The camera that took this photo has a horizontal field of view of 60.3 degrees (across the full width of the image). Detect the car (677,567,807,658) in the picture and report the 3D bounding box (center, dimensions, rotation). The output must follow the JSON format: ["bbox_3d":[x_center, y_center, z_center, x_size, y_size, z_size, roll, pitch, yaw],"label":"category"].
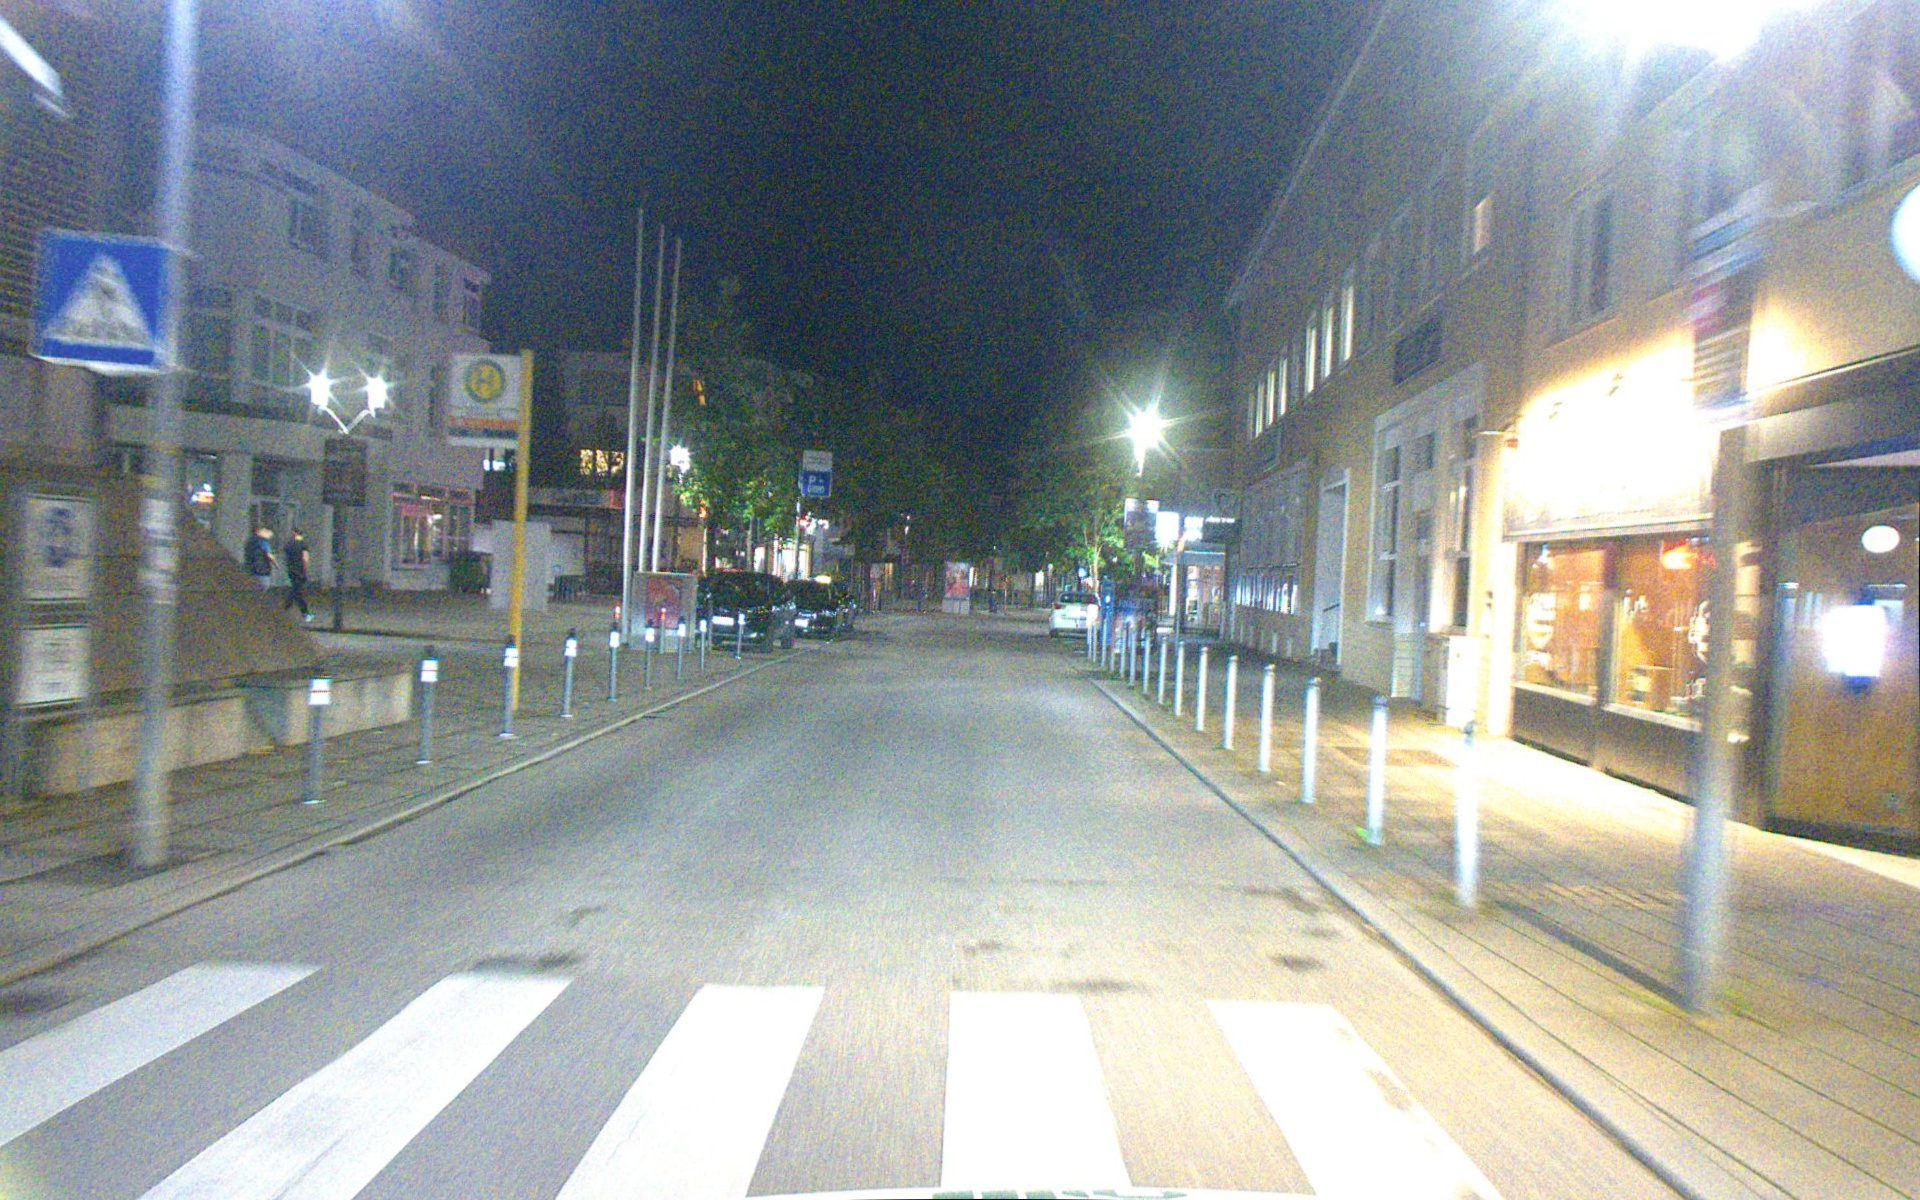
[{"bbox_3d":[-4.309,0.245,33.398,1.734,1.601,4.484,4,0,3],"label":"car"}]

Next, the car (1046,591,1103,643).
[{"bbox_3d":[3.664,0.554,53.031,1.706,1.513,4.638,2,-1,4],"label":"car"}]

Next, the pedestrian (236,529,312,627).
[{"bbox_3d":[-13.455,-0.426,32.436,0.776,1.848,1.023,4,0,22],"label":"pedestrian"}]

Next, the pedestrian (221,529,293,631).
[{"bbox_3d":[-13.363,-0.381,31.463,0.861,1.863,0.790,4,0,27],"label":"pedestrian"}]

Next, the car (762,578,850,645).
[{"bbox_3d":[-4.019,0.256,43.866,1.866,1.568,4.781,3,0,-1],"label":"car"}]

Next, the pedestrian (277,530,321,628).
[{"bbox_3d":[-12.696,-0.407,31.778,0.491,1.854,0.503,2,-1,26],"label":"pedestrian"}]

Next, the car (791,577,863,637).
[{"bbox_3d":[-4.007,0.179,50.419,1.723,1.666,4.815,2,0,0],"label":"car"}]

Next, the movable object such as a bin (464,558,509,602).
[{"bbox_3d":[-16.906,-0.708,59.079,1.107,1.483,1.228,3,-1,3],"label":"movable object such as a bin"}]

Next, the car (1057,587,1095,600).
[{"bbox_3d":[13.361,-0.790,191.130,4.079,1.463,1.842,0,0,16],"label":"car"}]

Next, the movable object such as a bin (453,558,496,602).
[{"bbox_3d":[-16.955,-0.689,57.774,1.015,1.469,1.286,3,-1,3],"label":"movable object such as a bin"}]
